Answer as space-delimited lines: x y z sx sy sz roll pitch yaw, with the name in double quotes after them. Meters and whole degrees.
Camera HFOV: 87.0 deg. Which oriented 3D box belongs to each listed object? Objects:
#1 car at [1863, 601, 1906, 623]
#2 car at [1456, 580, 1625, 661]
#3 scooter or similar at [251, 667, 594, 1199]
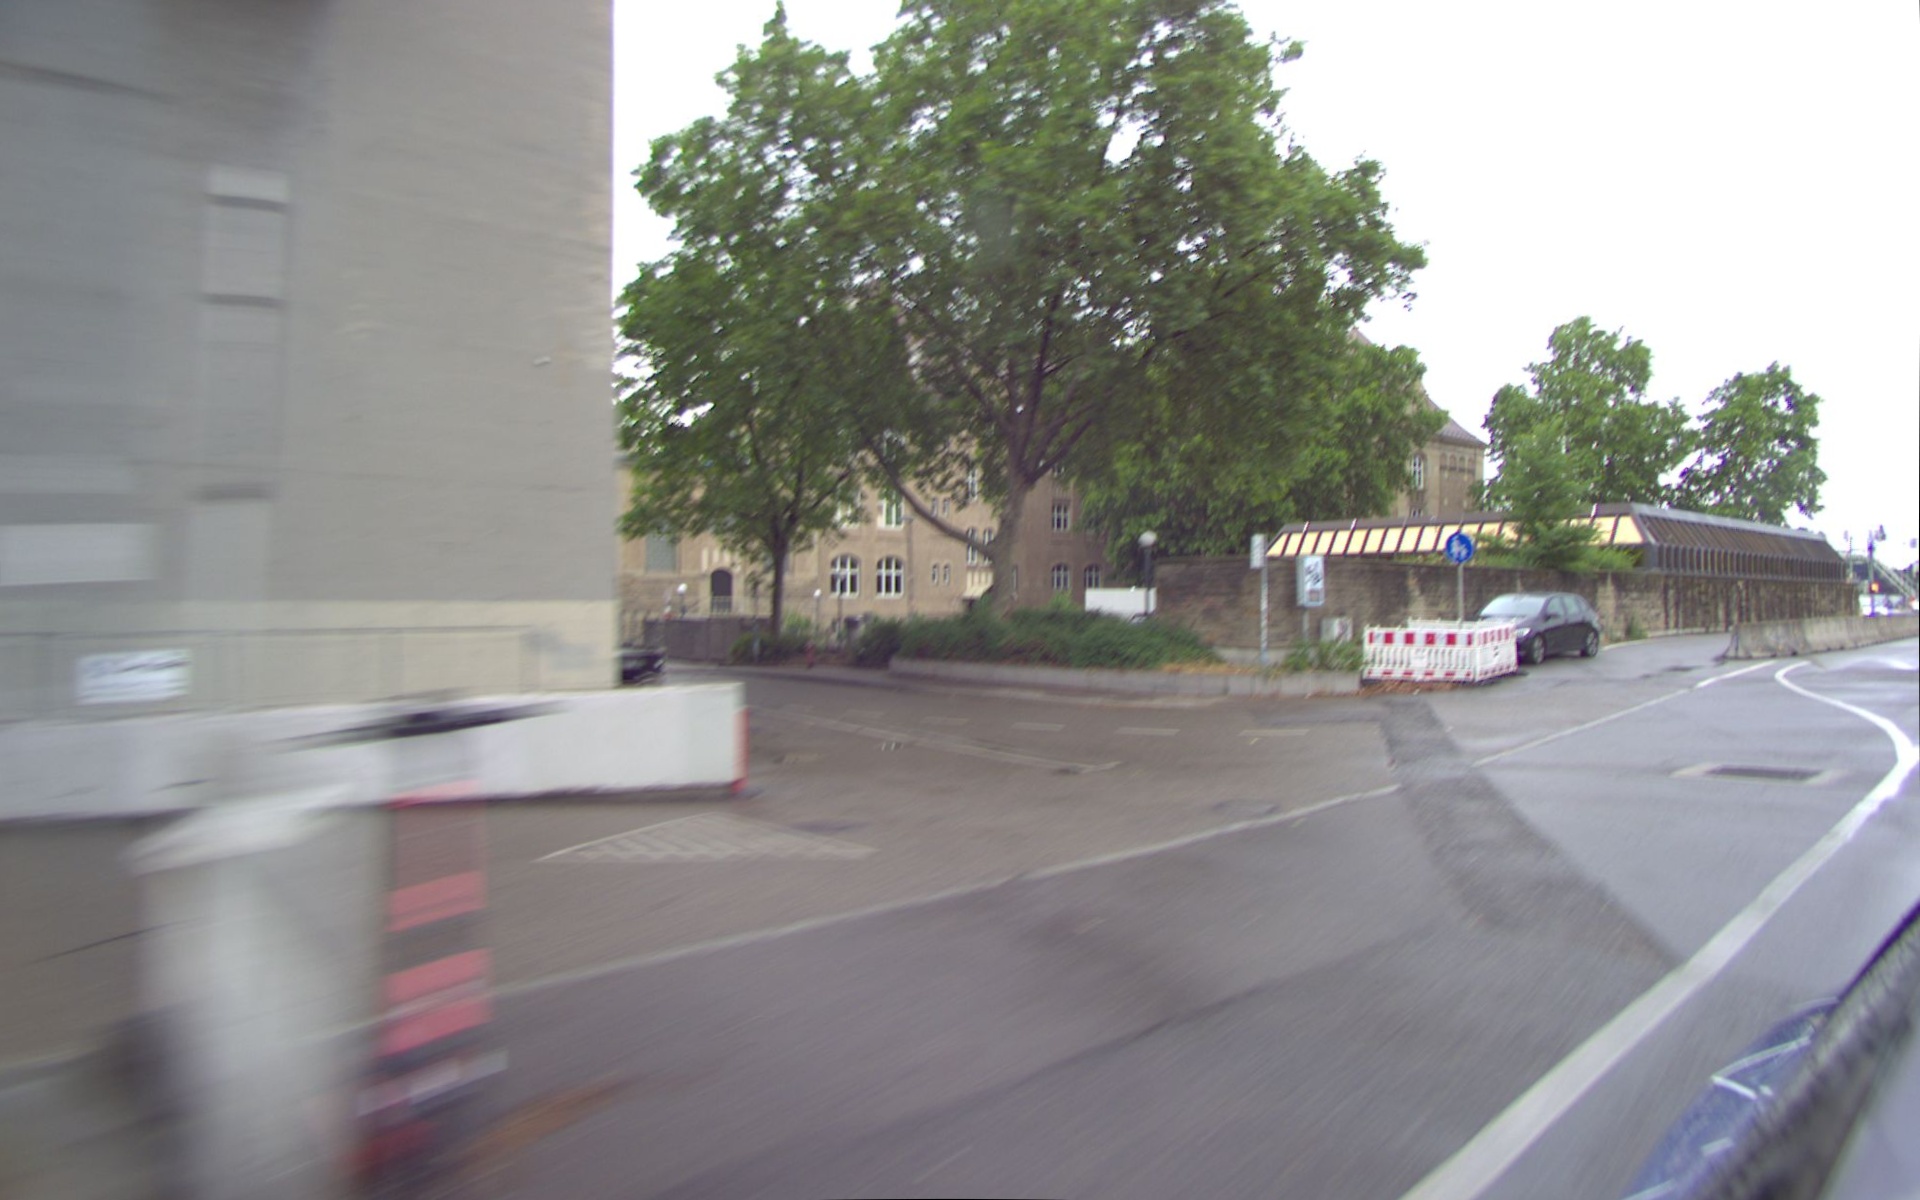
89.501 1.169 98.001 1.982 2.040 4.377 -2 -2 29 "car"
13.779 0.403 23.948 4.244 1.570 1.811 -3 5 -35 "car"
-1.465 0.862 2.757 0.607 1.302 1.360 -2 -3 -30 "scooter or similar"
